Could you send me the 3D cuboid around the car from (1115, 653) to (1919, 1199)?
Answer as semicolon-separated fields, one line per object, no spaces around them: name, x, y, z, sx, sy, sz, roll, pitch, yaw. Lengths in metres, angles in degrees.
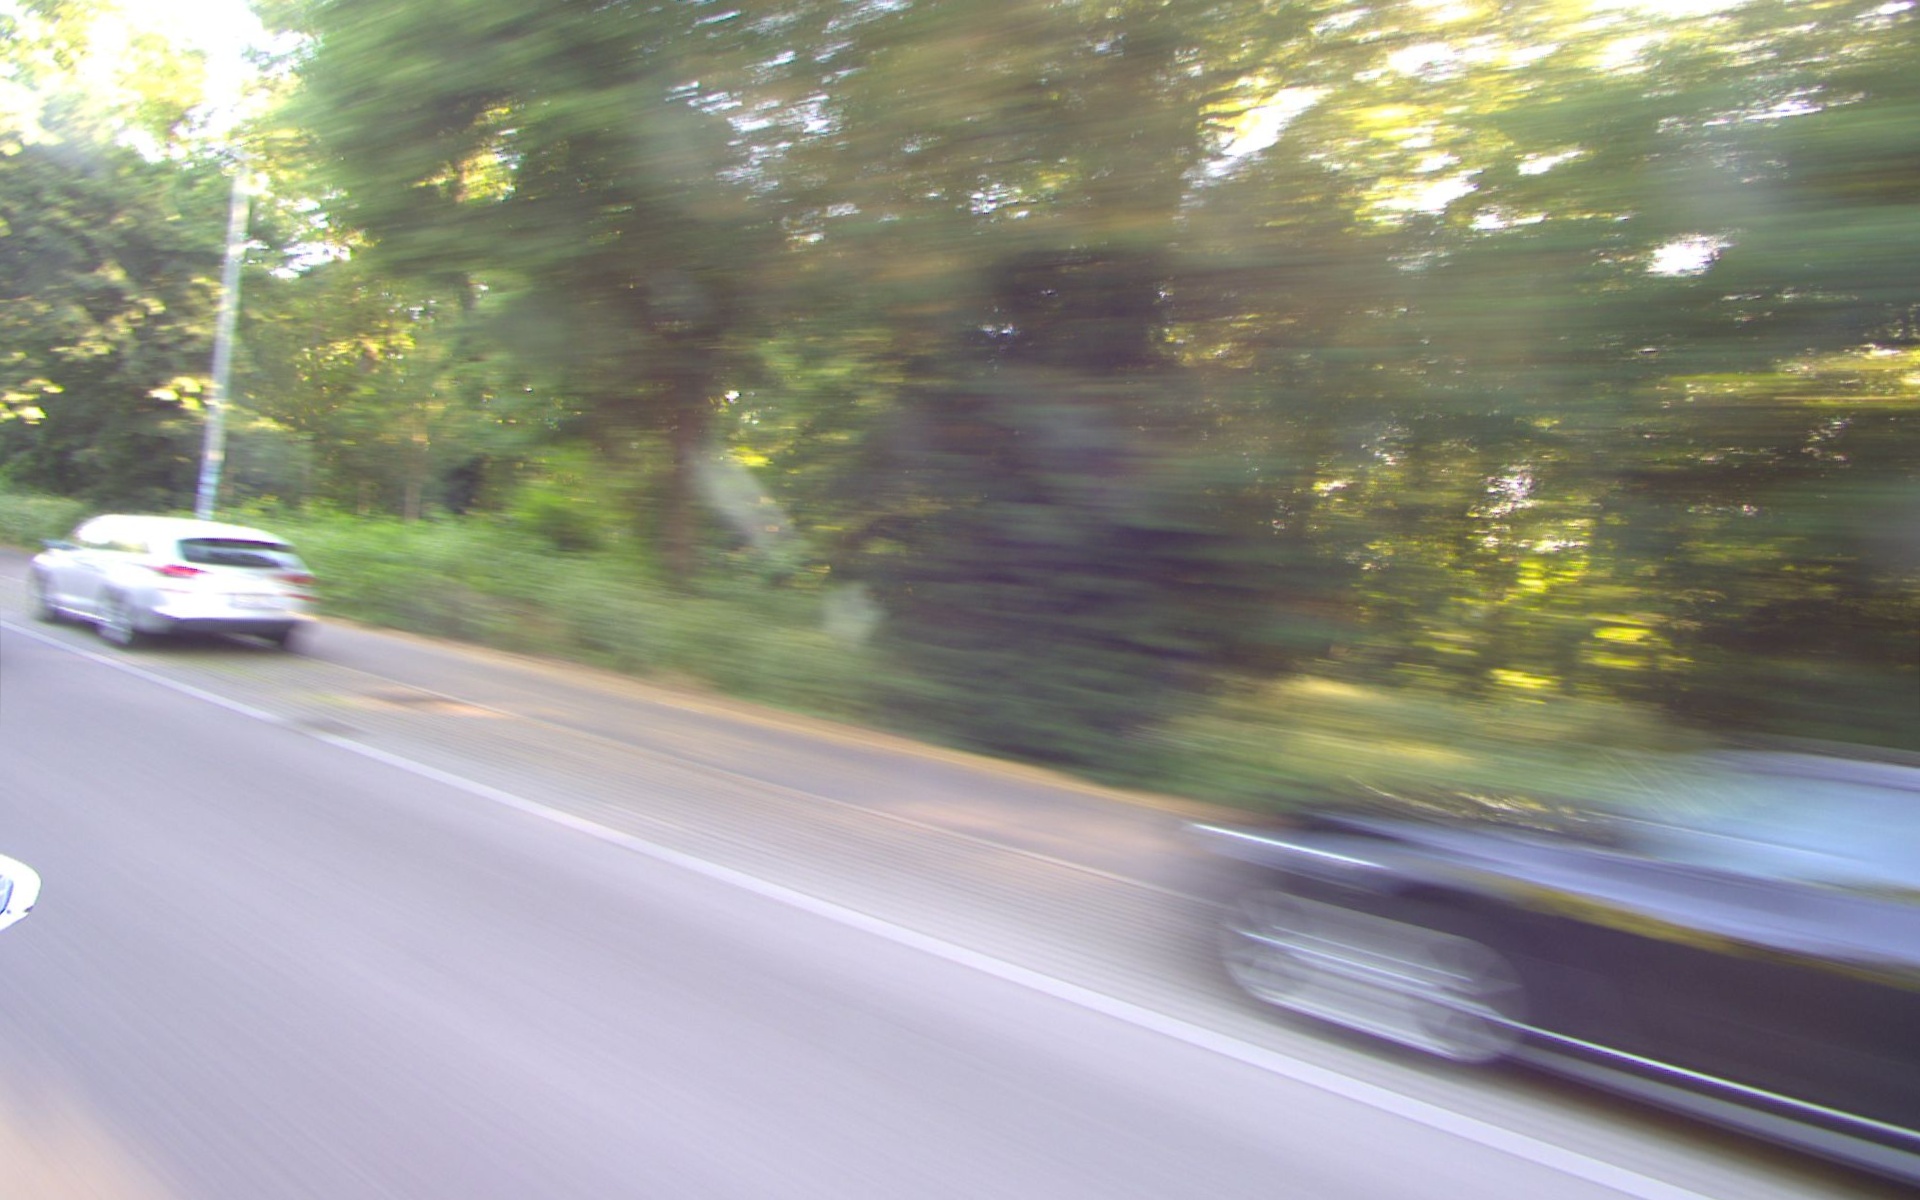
car;3.301;1.254;4.001;4.876;1.460;1.839;7;2;33

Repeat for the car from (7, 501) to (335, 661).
car;-9.844;-0.274;12.441;4.590;1.460;1.728;7;1;33

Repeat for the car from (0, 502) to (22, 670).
car;-10.480;-0.386;9.218;4.023;1.459;1.730;7;-1;33
